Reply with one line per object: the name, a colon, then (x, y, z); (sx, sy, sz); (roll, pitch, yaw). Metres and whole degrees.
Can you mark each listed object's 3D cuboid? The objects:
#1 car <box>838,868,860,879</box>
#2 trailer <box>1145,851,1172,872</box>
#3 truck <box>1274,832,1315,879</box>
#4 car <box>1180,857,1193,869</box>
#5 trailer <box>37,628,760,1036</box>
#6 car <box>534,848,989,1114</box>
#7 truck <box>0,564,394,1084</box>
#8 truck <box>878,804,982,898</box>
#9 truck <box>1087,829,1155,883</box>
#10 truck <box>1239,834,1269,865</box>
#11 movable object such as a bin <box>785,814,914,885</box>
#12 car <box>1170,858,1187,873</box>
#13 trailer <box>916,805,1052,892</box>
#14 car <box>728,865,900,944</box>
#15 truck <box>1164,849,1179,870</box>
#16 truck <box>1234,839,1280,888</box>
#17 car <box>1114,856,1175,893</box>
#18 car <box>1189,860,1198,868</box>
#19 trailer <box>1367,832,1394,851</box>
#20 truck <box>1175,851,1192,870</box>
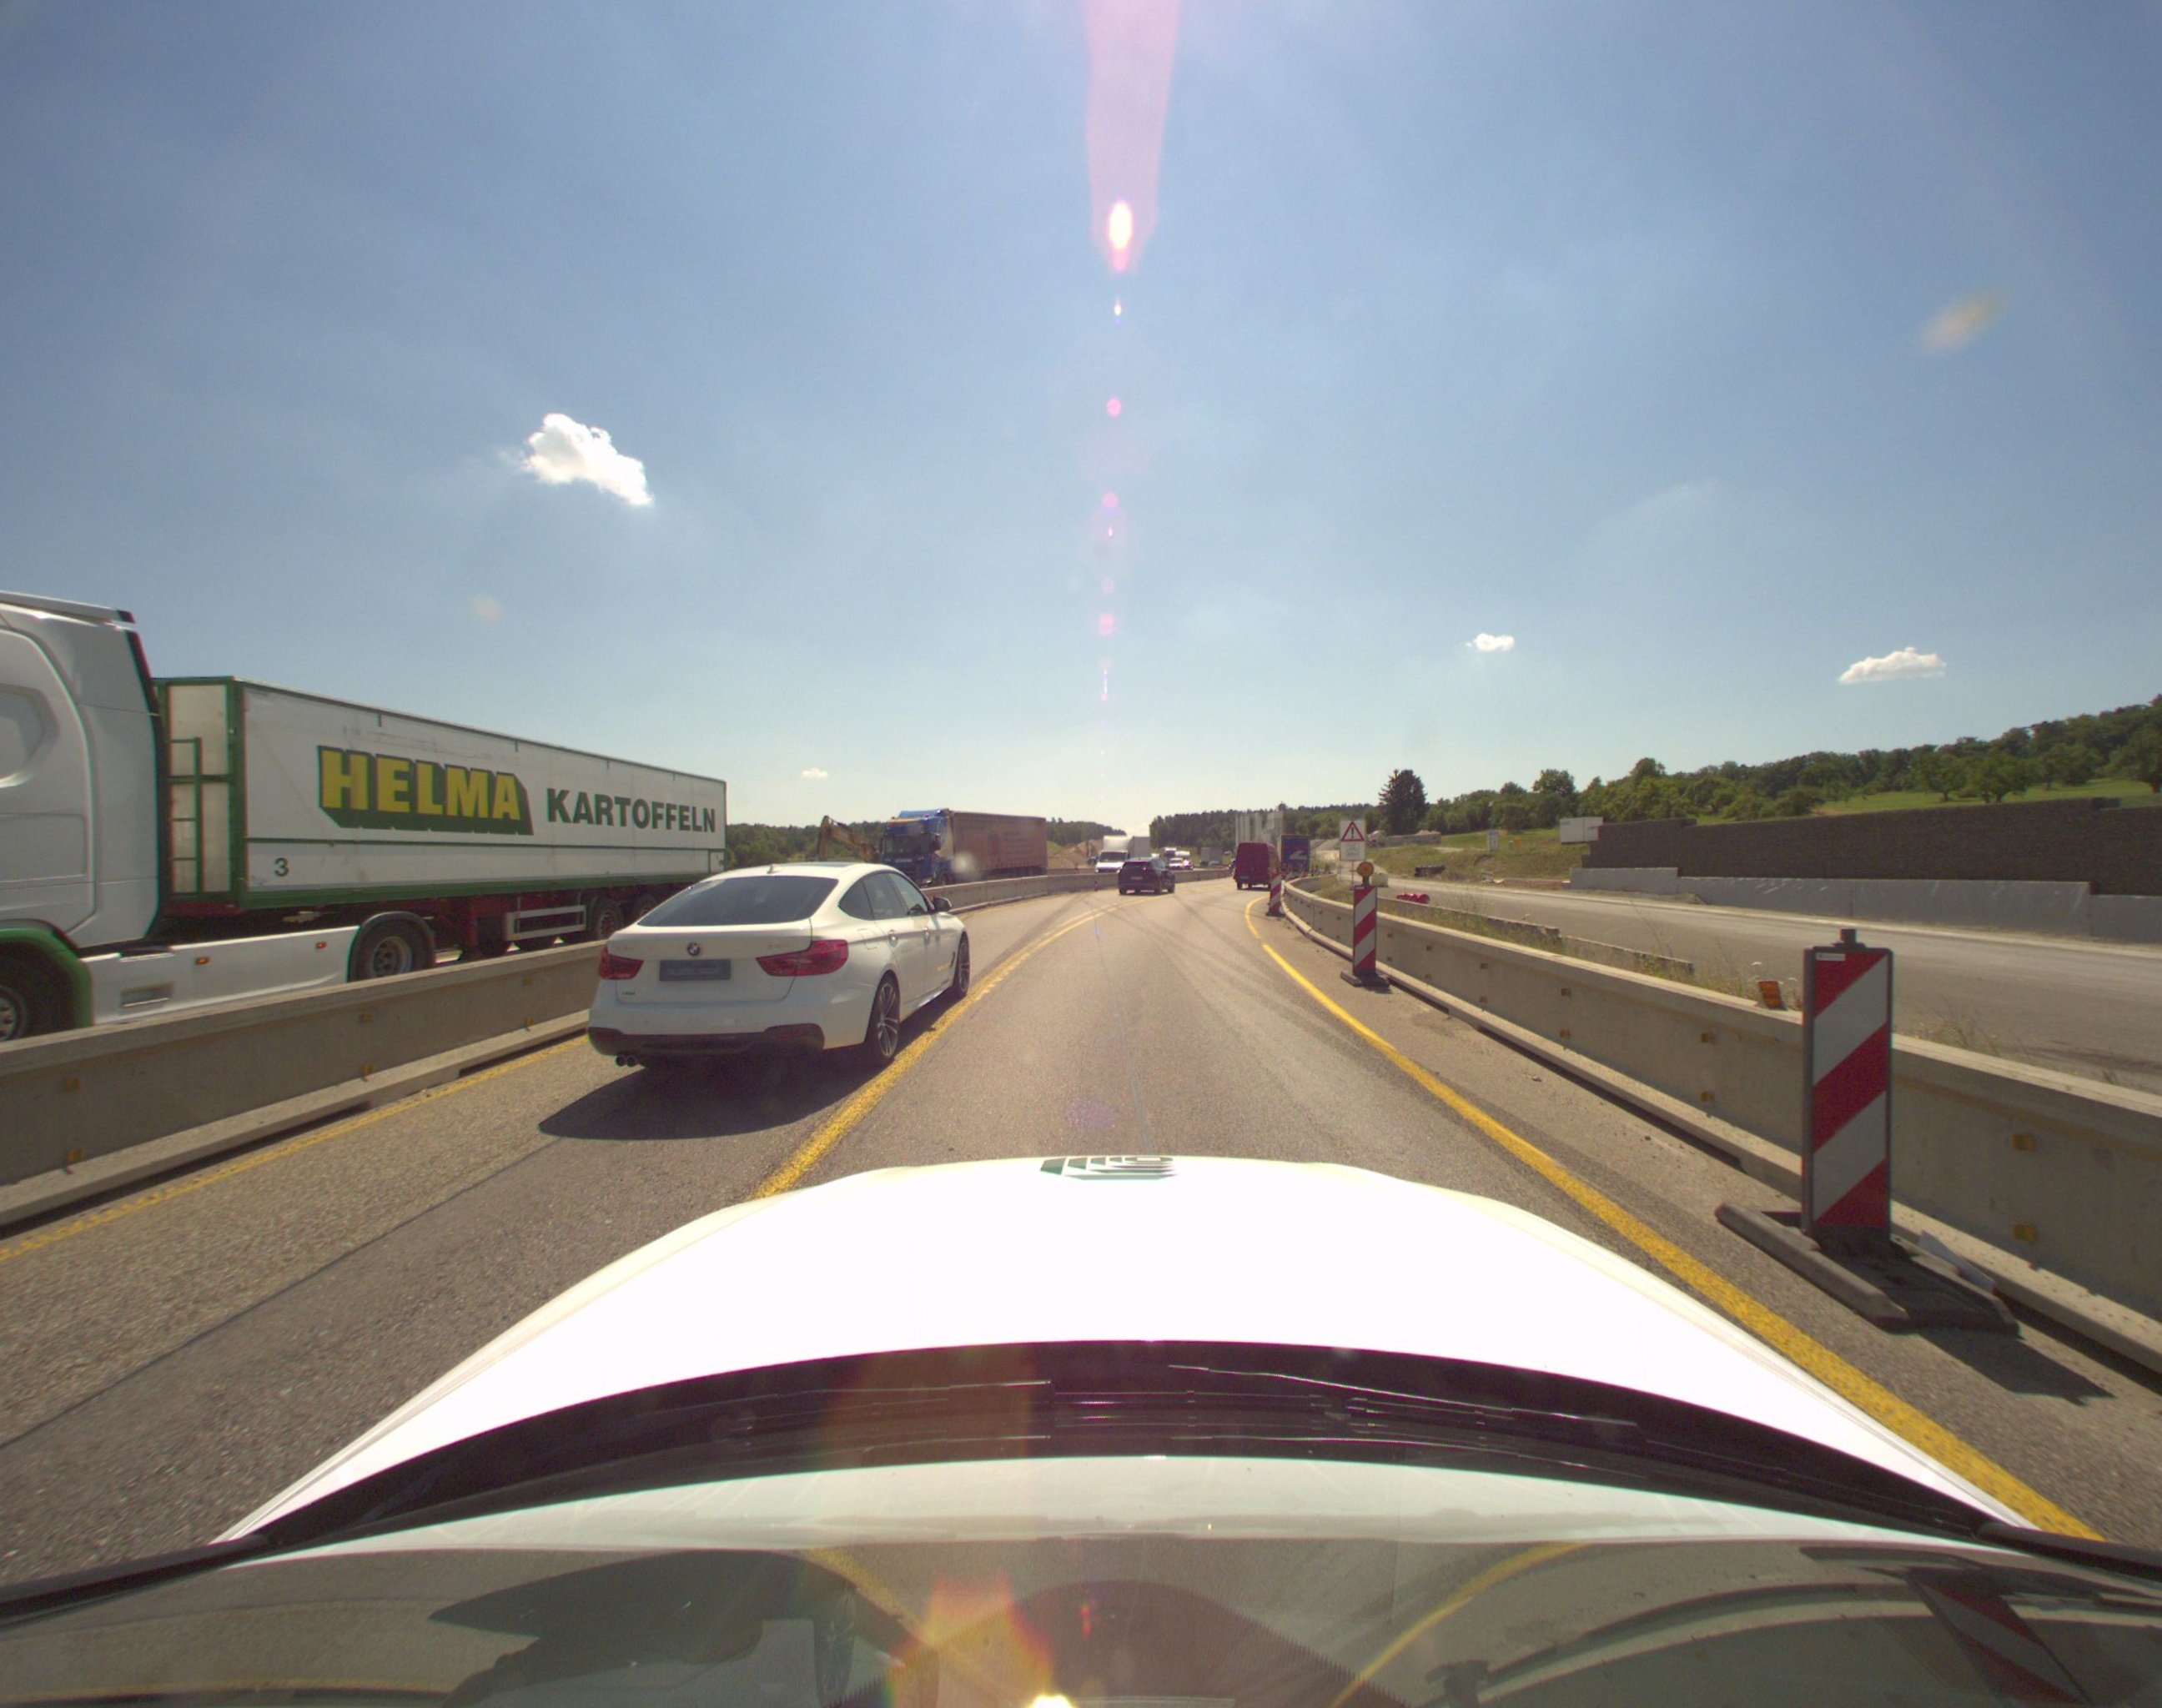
car: (-30.267, 2.533, 106.497); (1.607, 1.409, 4.444); (-1, 0, -1)
trailer: (7.998, 0.764, 83.810); (1.851, 2.022, 4.455); (-1, 0, 17)
truck: (20.095, 0.134, 77.148); (2.997, 4.153, 8.294); (-1, 0, 10)
car: (15.332, 1.305, 117.936); (1.709, 1.627, 4.348); (-1, 0, 10)
trailer: (-9.458, -0.207, 14.599); (2.345, 4.152, 12.498); (-1, 0, 0)
car: (-2.197, 0.769, 7.370); (1.787, 1.534, 5.078); (-2, 0, 4)
truck: (-9.558, -0.219, 7.335); (2.441, 4.008, 5.075); (-1, 0, -1)
truck: (-6.898, -0.111, 38.041); (2.525, 4.081, 5.568); (-1, 0, 16)
truck: (2.776, 0.143, 54.605); (2.557, 3.381, 6.963); (-1, 0, 20)
truck: (26.887, -0.645, 127.027); (3.665, 4.691, 9.769); (-1, 0, 6)
movable object such as a bin: (-15.130, -0.259, 54.329); (2.898, 4.329, 9.378); (-1, 0, 24)
car: (12.717, 1.500, 106.189); (1.854, 1.953, 4.906); (-1, 0, 10)
trailer: (-4.912, -0.228, 45.293); (2.567, 4.152, 13.120); (-1, 0, 16)
car: (-5.694, 1.010, 18.020); (1.744, 1.478, 4.547); (-1, 0, 8)
truck: (18.446, 1.123, 165.352); (2.685, 4.062, 5.515); (-1, 0, 9)
truck: (10.267, 0.527, 47.192); (2.095, 2.633, 6.512); (-1, 0, 17)
car: (2.868, 0.864, 35.936); (1.781, 1.534, 3.949); (-1, 0, 18)
car: (22.463, 1.933, 162.355); (1.650, 1.605, 4.408); (-1, 0, 9)
trailer: (65.758, -2.766, 178.964); (2.754, 4.114, 6.728); (-1, 0, -7)
truck: (16.787, 1.005, 133.915); (2.430, 3.071, 7.255); (-1, 0, 4)
